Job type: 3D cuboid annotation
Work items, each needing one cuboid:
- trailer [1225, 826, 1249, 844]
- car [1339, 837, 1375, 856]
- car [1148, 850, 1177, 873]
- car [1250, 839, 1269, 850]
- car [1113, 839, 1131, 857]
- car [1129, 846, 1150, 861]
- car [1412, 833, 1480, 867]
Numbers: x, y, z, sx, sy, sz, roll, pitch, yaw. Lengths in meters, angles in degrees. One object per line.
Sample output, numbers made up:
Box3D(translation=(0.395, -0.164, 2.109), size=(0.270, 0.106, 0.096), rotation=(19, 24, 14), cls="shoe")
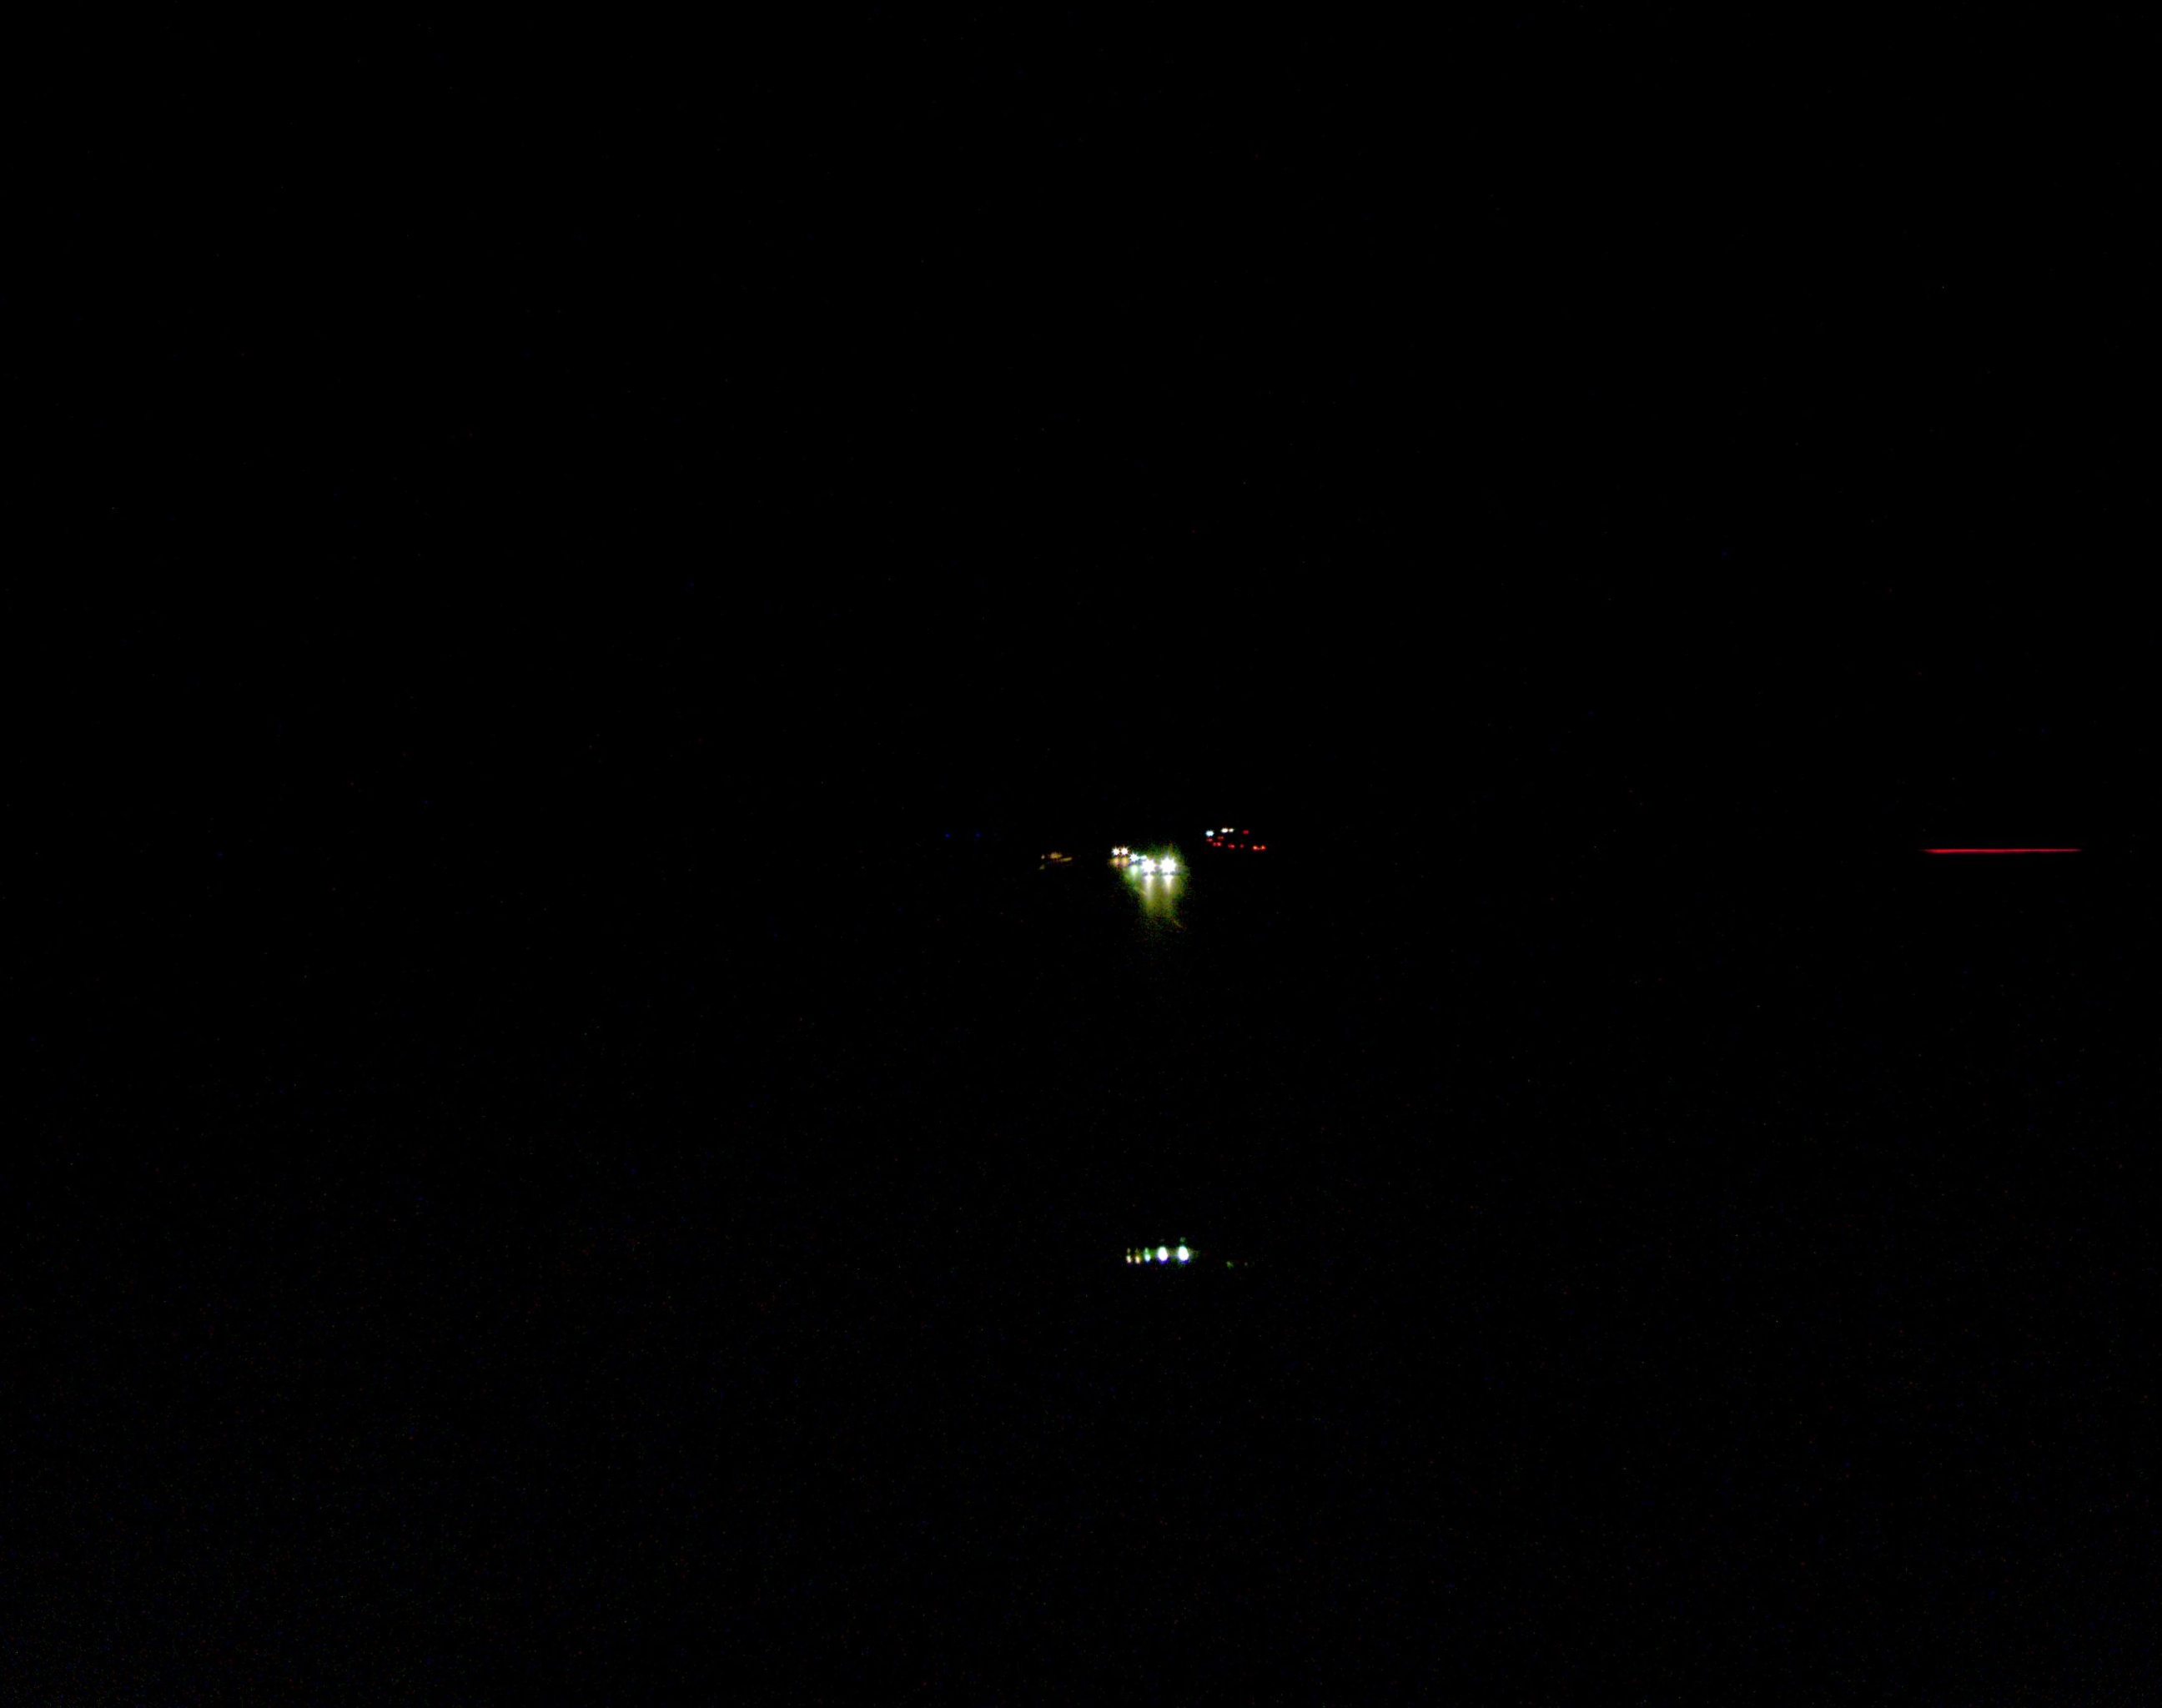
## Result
Box3D(translation=(37.562, -4.586, 183.804), size=(3.607, 4.067, 14.125), rotation=(-2, 1, 4), cls="trailer")
Box3D(translation=(27.006, -0.738, 74.561), size=(1.998, 1.716, 4.076), rotation=(-2, 0, 0), cls="car")
Box3D(translation=(5.429, 0.474, 50.977), size=(1.832, 1.404, 4.001), rotation=(-3, 0, 5), cls="car")
Box3D(translation=(31.693, -1.647, 135.049), size=(2.403, 1.865, 4.512), rotation=(-1, 1, 3), cls="car")
Box3D(translation=(7.476, -1.186, 137.554), size=(2.532, 2.889, 6.228), rotation=(-3, 2, 8), cls="car")
Box3D(translation=(6.637, -0.101, 86.160), size=(1.997, 1.456, 4.001), rotation=(-3, 2, 10), cls="car")
Box3D(translation=(21.425, -0.219, 44.782), size=(1.998, 1.843, 4.076), rotation=(-2, 0, 0), cls="car")
